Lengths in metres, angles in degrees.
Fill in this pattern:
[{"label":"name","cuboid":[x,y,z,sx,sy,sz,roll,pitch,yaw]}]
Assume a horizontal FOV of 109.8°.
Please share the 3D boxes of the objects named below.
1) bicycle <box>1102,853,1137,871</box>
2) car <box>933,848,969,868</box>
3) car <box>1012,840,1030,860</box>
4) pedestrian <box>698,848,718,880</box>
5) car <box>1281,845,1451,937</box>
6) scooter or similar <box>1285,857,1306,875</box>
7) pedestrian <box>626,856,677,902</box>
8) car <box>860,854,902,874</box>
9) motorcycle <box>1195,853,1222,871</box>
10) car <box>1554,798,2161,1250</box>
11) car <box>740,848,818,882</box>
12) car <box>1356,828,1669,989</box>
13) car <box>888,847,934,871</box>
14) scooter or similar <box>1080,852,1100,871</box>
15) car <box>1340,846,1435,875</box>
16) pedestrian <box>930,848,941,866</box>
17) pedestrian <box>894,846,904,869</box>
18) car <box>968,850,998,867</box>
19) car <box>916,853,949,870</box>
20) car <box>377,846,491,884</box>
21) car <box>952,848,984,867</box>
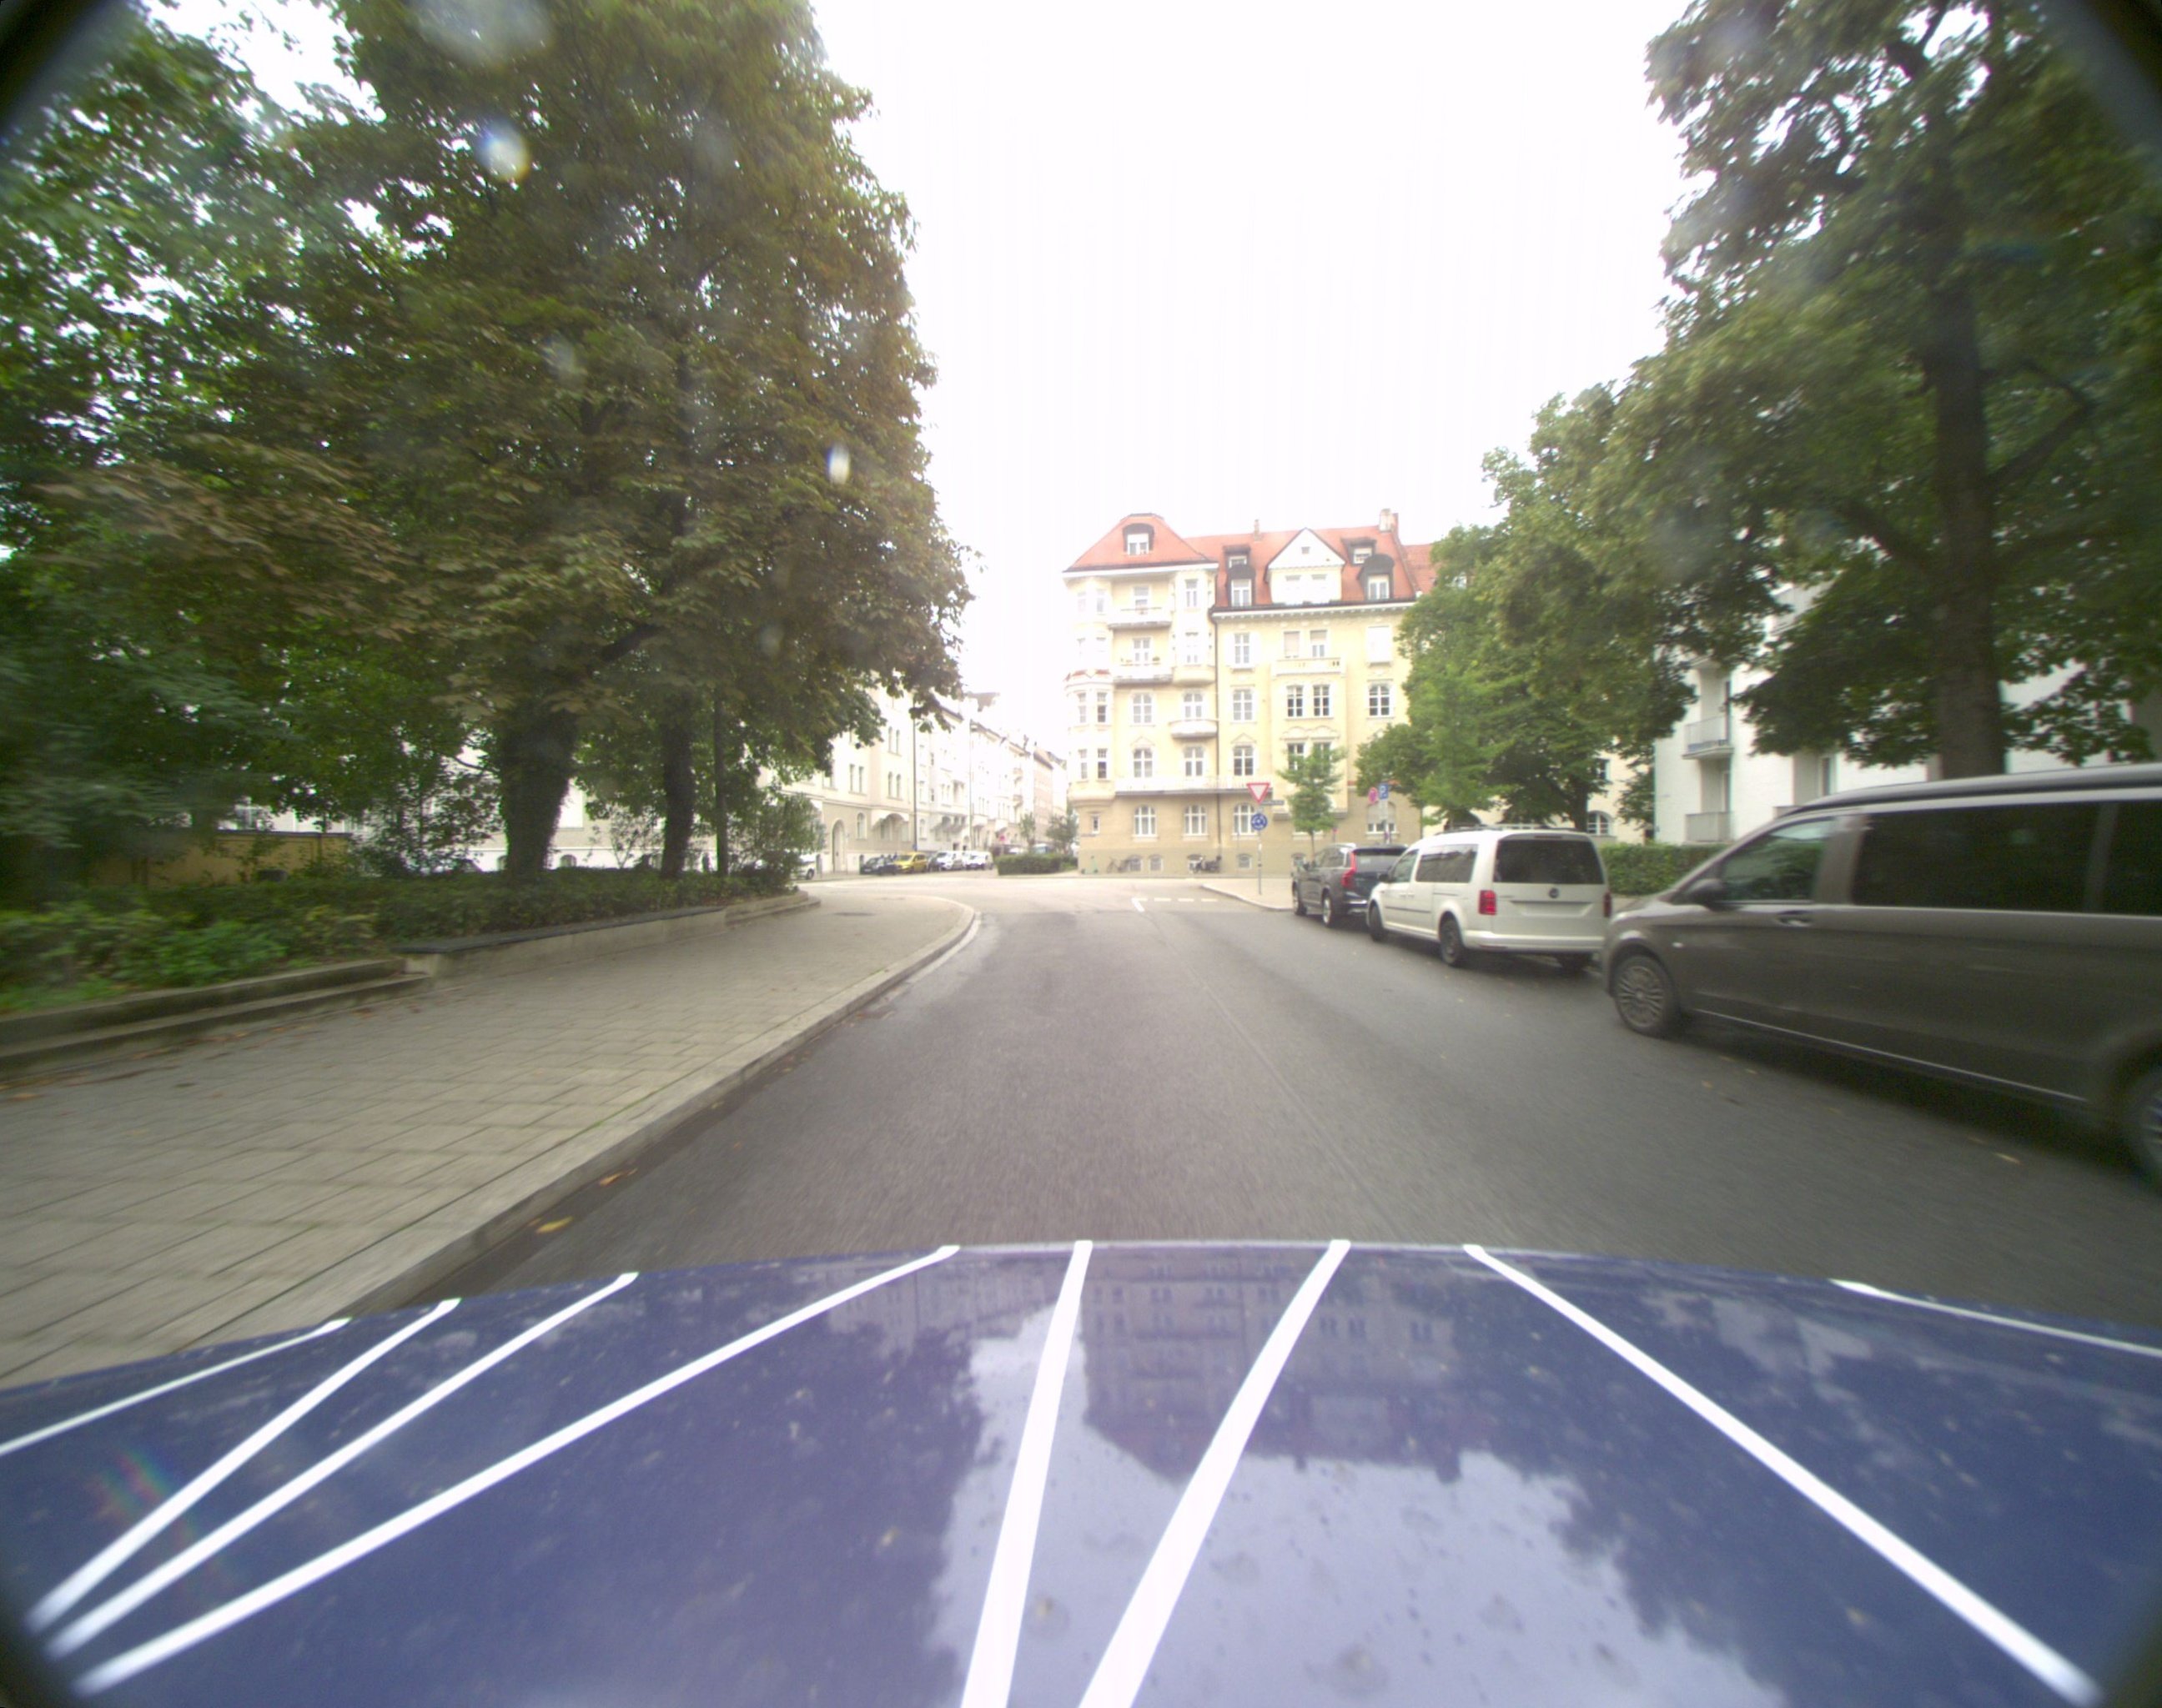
[{"label":"bicycle","cuboid":[2.661,0.534,52.255,2.337,1.196,0.699,-1,0,3]},{"label":"car","cuboid":[-12.889,0.381,75.606,1.997,1.907,4.889,0,0,9]},{"label":"car","cuboid":[-8.440,-0.598,107.676,2.082,2.673,5.444,1,1,0]},{"label":"pedestrian","cuboid":[-21.261,0.559,43.293,0.931,1.790,0.997,-1,1,-31]},{"label":"car","cuboid":[6.026,0.679,16.861,2.088,1.709,5.306,0,0,4]},{"label":"scooter or similar","cuboid":[13.261,0.717,47.004,1.349,1.102,0.541,-1,1,-37]},{"label":"pedestrian","cuboid":[-13.003,0.745,23.015,0.770,1.349,1.132,0,1,10]},{"label":"car","cuboid":[-15.573,0.745,59.259,1.715,1.437,3.830,0,0,9]},{"label":"motorcycle","cuboid":[8.574,0.516,51.298,1.744,1.179,0.742,-1,0,4]},{"label":"car","cuboid":[5.559,0.720,4.427,2.031,1.897,5.666,1,0,0]},{"label":"car","cuboid":[-18.175,0.602,46.082,1.942,1.911,5.378,1,0,8]},{"label":"car","cuboid":[5.961,0.636,11.390,2.088,1.892,4.859,0,0,3]},{"label":"car","cuboid":[-14.424,0.388,64.581,1.996,1.907,4.575,0,0,13]},{"label":"scooter or similar","cuboid":[0.611,0.514,52.297,1.284,1.264,0.458,-1,1,-10]},{"label":"car","cuboid":[18.453,0.389,45.896,4.984,1.666,2.001,0,1,7]},{"label":"pedestrian","cuboid":[-15.668,0.354,81.808,0.853,1.892,0.746,0,1,12]},{"label":"pedestrian","cuboid":[-16.127,0.319,67.469,0.584,2.002,0.728,0,1,11]},{"label":"car","cuboid":[-9.735,0.413,75.809,1.918,1.648,4.603,0,0,6]},{"label":"car","cuboid":[-13.672,0.662,70.025,1.636,1.505,3.888,-1,0,10]},{"label":"car","cuboid":[-31.490,0.531,37.049,4.244,1.785,1.894,0,1,9]},{"label":"car","cuboid":[-12.077,0.341,81.745,1.997,1.907,4.881,0,0,9]}]
